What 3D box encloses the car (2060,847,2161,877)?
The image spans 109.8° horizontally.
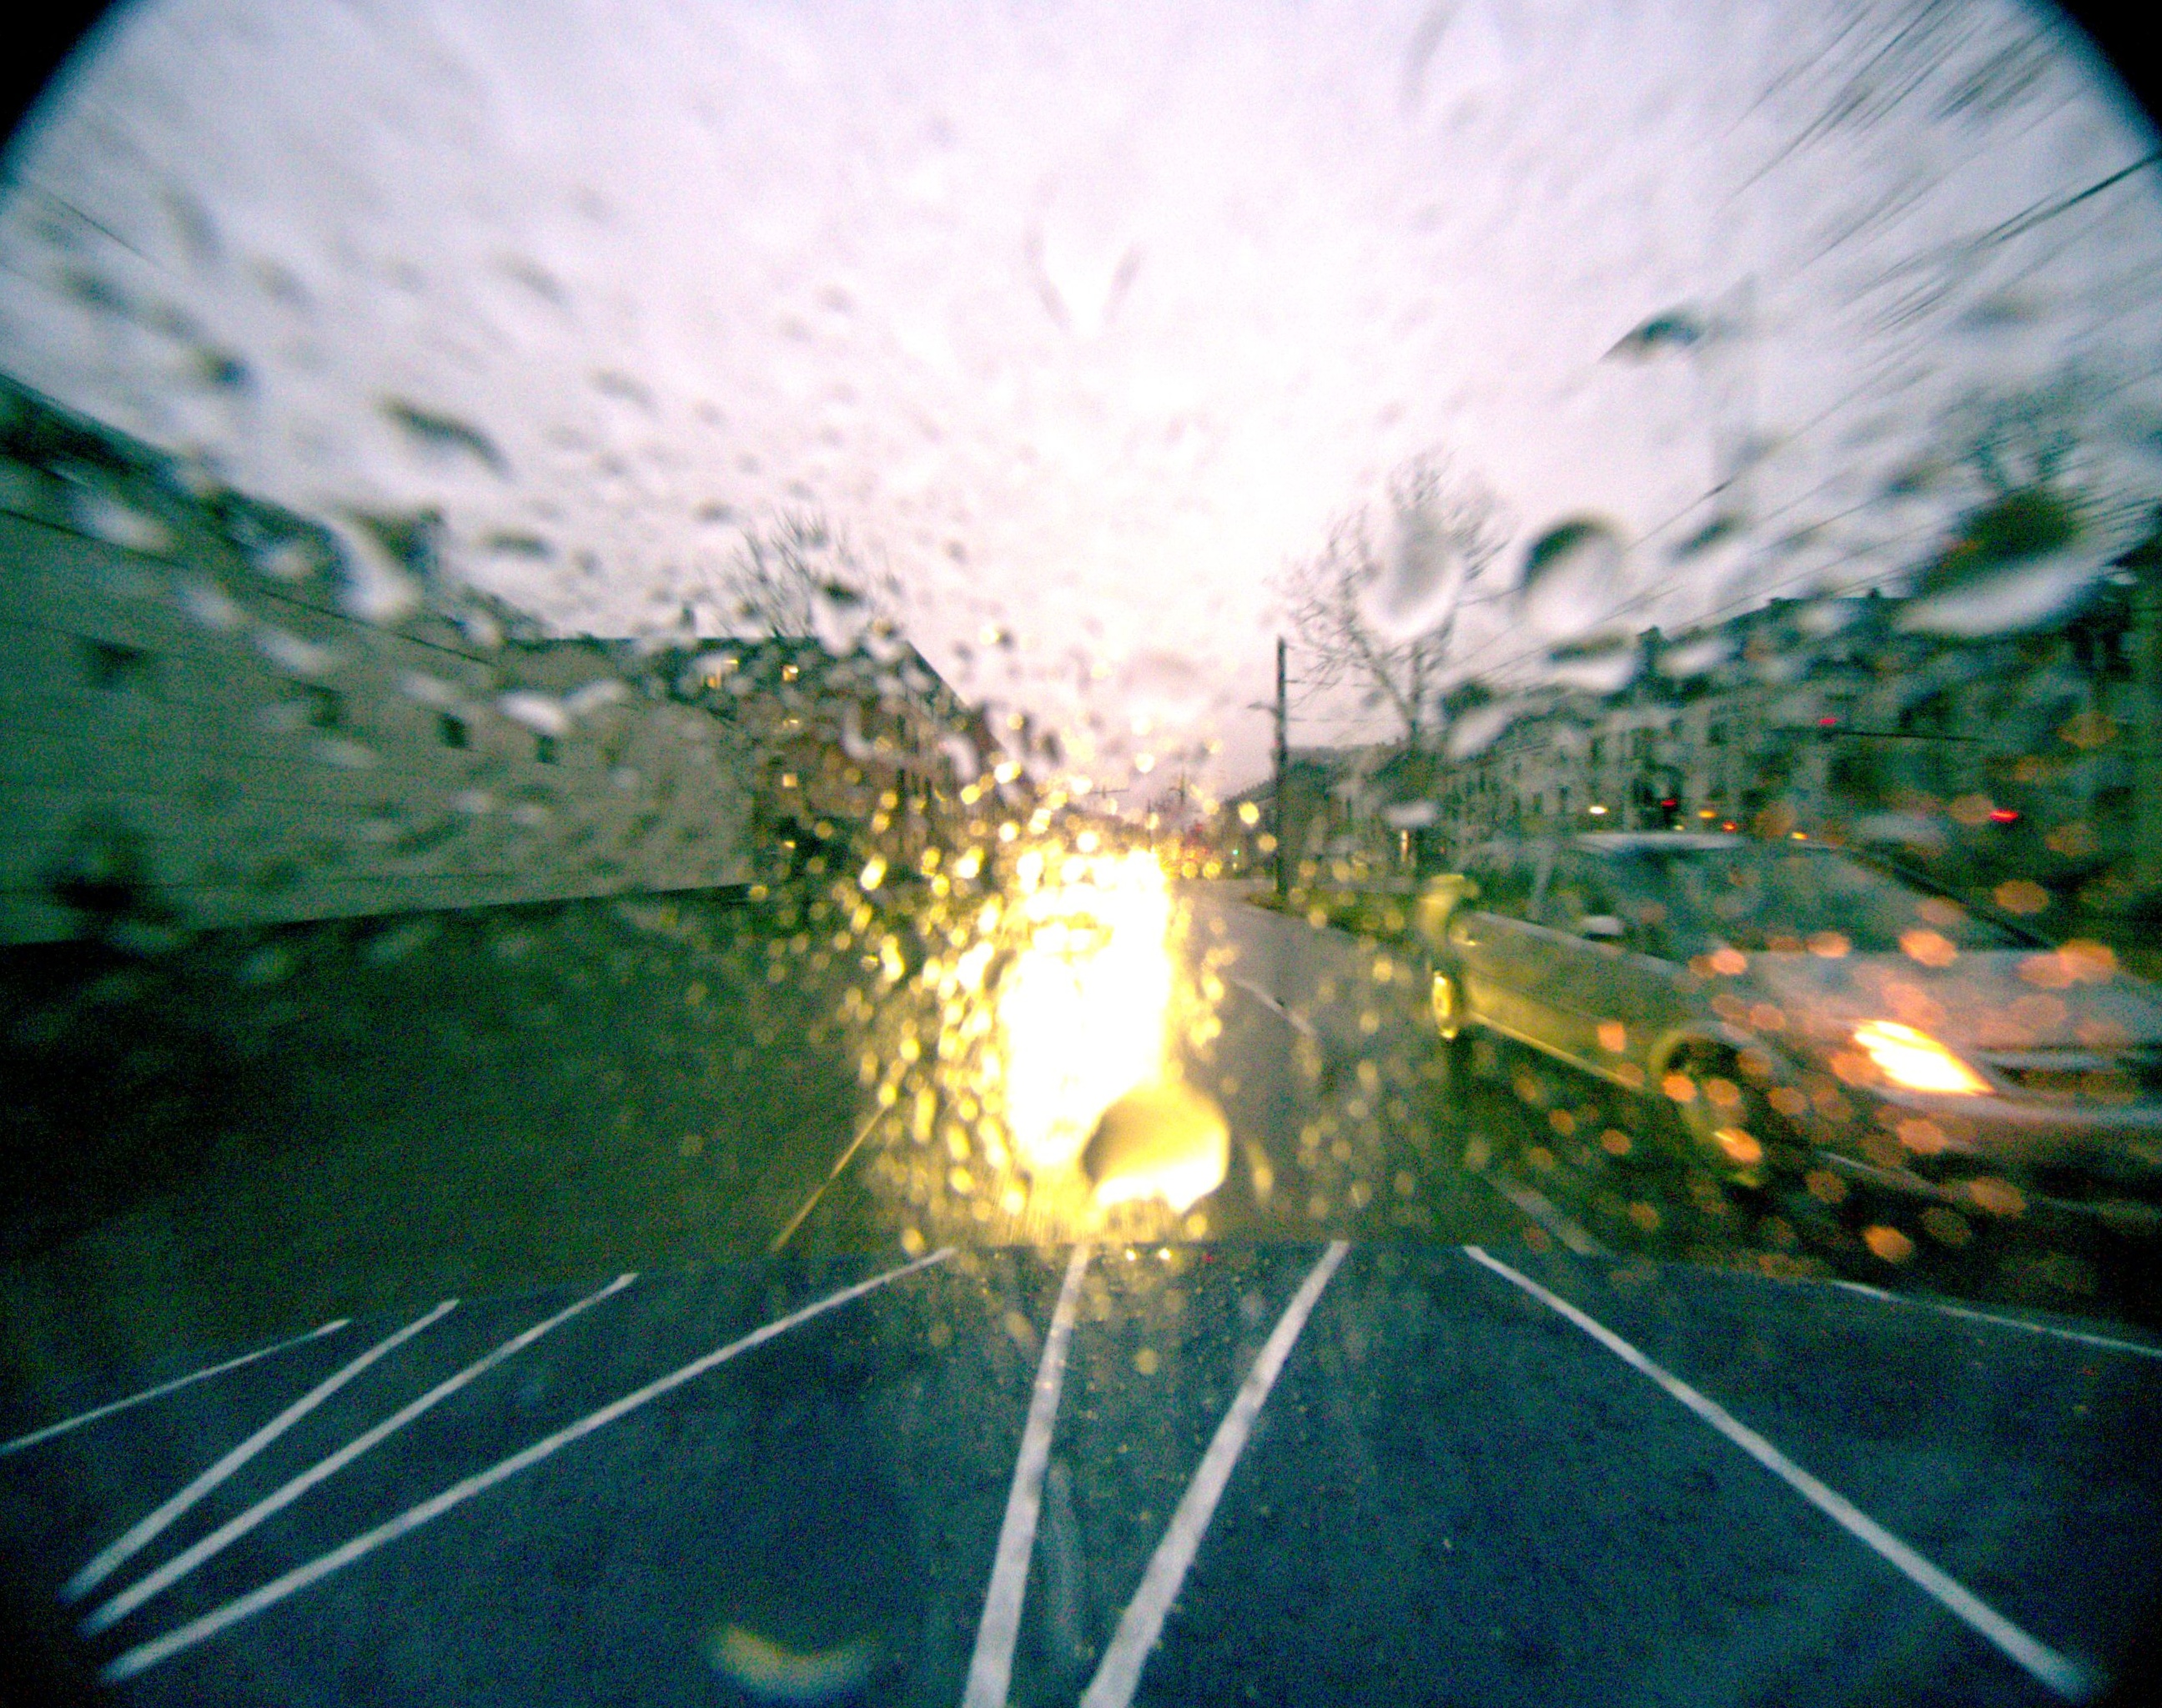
[{"bbox_3d":[53.169,0.374,38.773,3.997,1.477,1.794,0,0,1],"label":"car"}]

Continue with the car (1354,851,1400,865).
[{"bbox_3d":[30.461,0.406,78.315,3.988,1.324,2.004,0,1,39],"label":"car"}]

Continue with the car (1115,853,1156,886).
[{"bbox_3d":[2.618,0.711,37.075,1.813,1.488,4.054,-1,1,2],"label":"car"}]

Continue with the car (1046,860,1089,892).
[{"bbox_3d":[-0.600,1.022,36.631,1.813,1.385,4.054,-1,1,2],"label":"car"}]

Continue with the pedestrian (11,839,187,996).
[{"bbox_3d":[-10.452,0.647,8.117,0.940,1.608,0.694,0,1,-1],"label":"pedestrian"}]

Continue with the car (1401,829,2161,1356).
[{"bbox_3d":[3.611,0.705,4.349,1.814,1.591,4.053,-1,1,0],"label":"car"}]

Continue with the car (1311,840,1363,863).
[{"bbox_3d":[31.564,-0.296,93.872,5.849,2.781,2.004,1,1,44],"label":"car"}]

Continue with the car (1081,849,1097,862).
[{"bbox_3d":[1.061,0.186,100.073,1.998,1.694,4.000,0,0,1],"label":"car"}]

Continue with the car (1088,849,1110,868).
[{"bbox_3d":[1.704,0.398,72.729,1.998,1.745,4.000,0,0,1],"label":"car"}]

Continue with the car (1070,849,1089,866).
[{"bbox_3d":[-0.159,0.378,82.435,1.998,1.745,4.000,0,0,1],"label":"car"}]

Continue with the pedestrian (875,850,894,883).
[{"bbox_3d":[-9.612,0.604,37.192,0.623,1.601,1.067,0,1,-2],"label":"pedestrian"}]
